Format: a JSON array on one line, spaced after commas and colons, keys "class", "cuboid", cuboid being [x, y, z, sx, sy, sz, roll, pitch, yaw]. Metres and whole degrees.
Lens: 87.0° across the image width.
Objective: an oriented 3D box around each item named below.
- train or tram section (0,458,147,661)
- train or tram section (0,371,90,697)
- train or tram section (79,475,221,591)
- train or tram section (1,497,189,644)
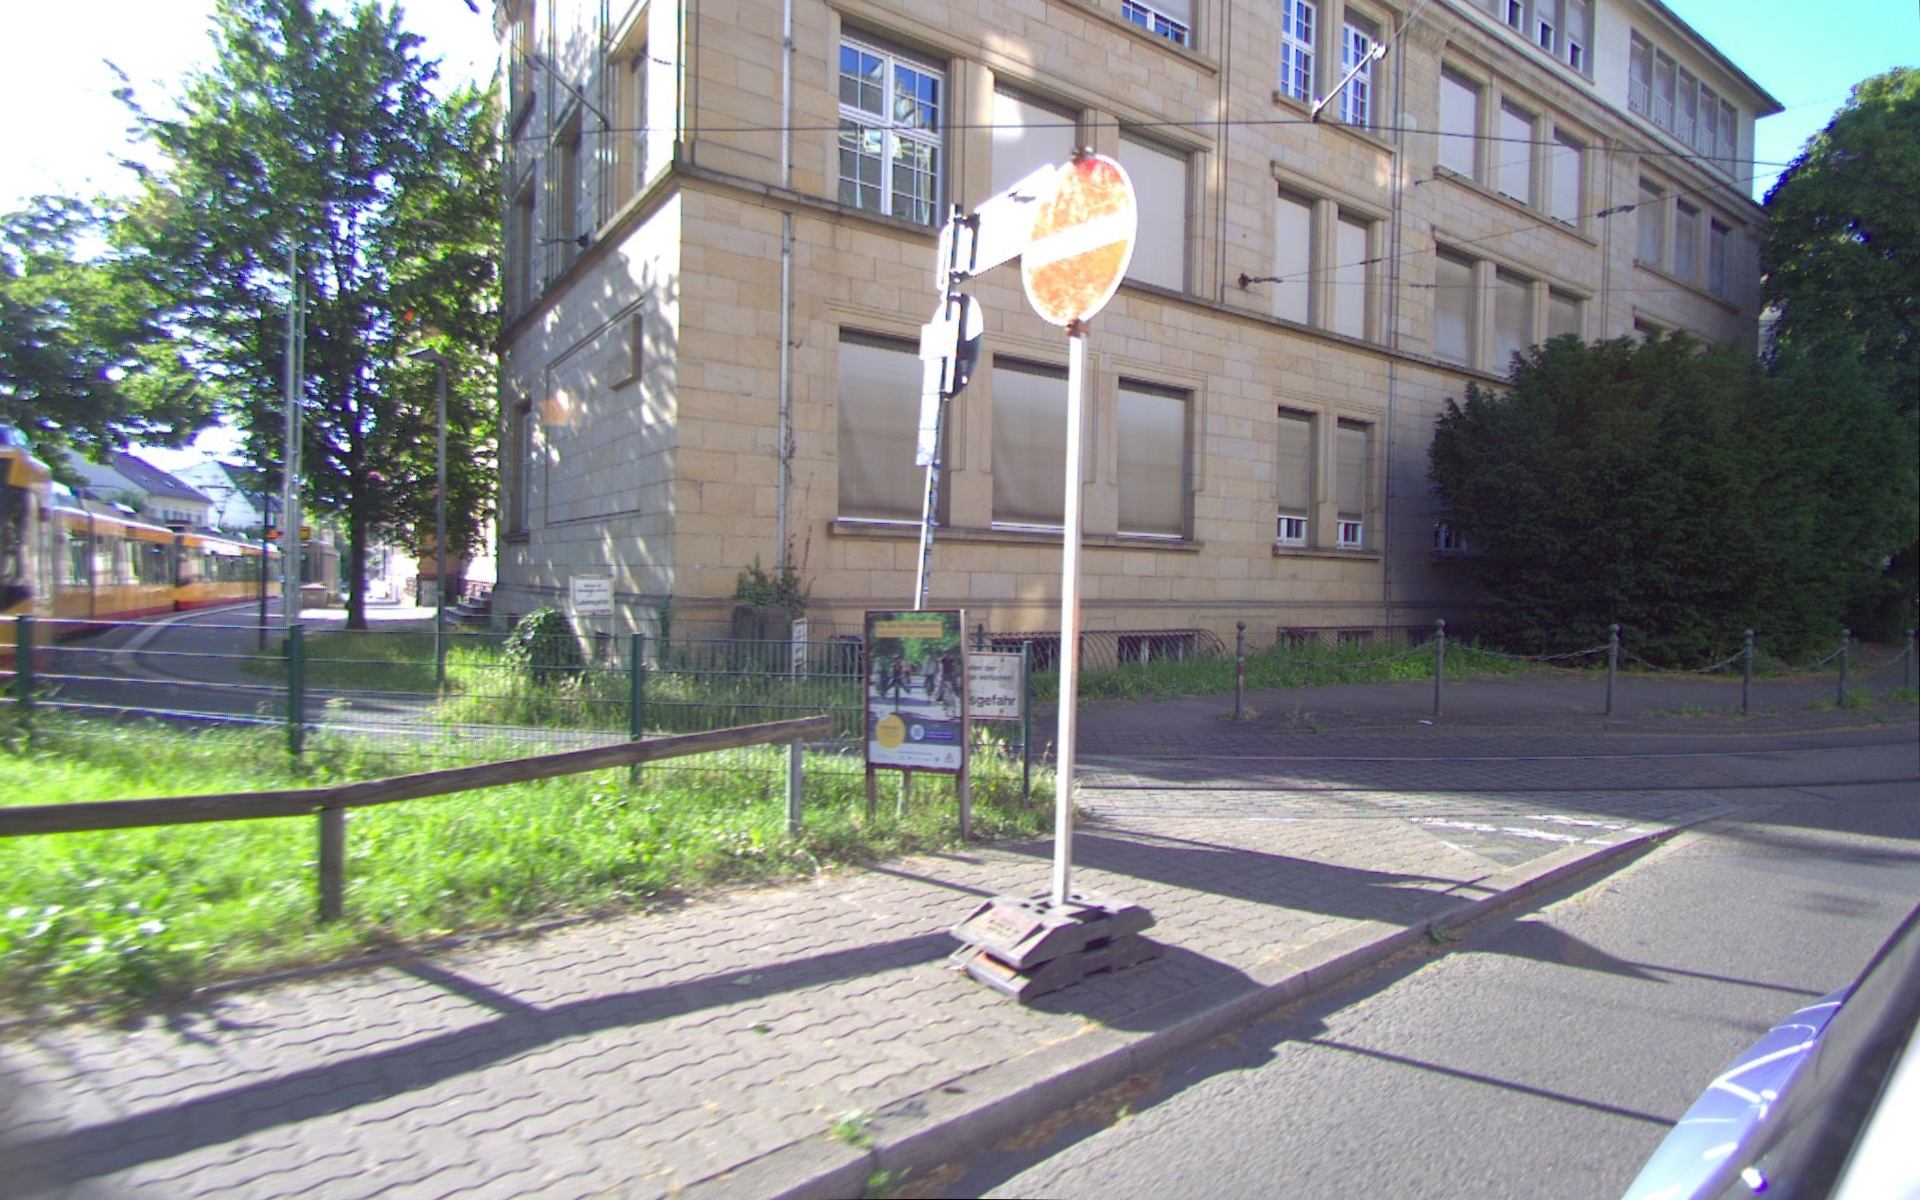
[{"class": "train or tram section", "cuboid": [-19.741, -0.715, 21.478, 2.743, 3.564, 9.273, 0, 0, -32]}, {"class": "train or tram section", "cuboid": [-14.220, -0.726, 14.032, 2.747, 3.564, 9.261, 0, 0, -38]}, {"class": "train or tram section", "cuboid": [-29.558, -2.201, 37.359, 2.792, 3.647, 9.872, 0, 0, -31]}, {"class": "train or tram section", "cuboid": [-24.566, -0.728, 29.257, 2.743, 3.564, 9.273, 0, 0, -32]}]
